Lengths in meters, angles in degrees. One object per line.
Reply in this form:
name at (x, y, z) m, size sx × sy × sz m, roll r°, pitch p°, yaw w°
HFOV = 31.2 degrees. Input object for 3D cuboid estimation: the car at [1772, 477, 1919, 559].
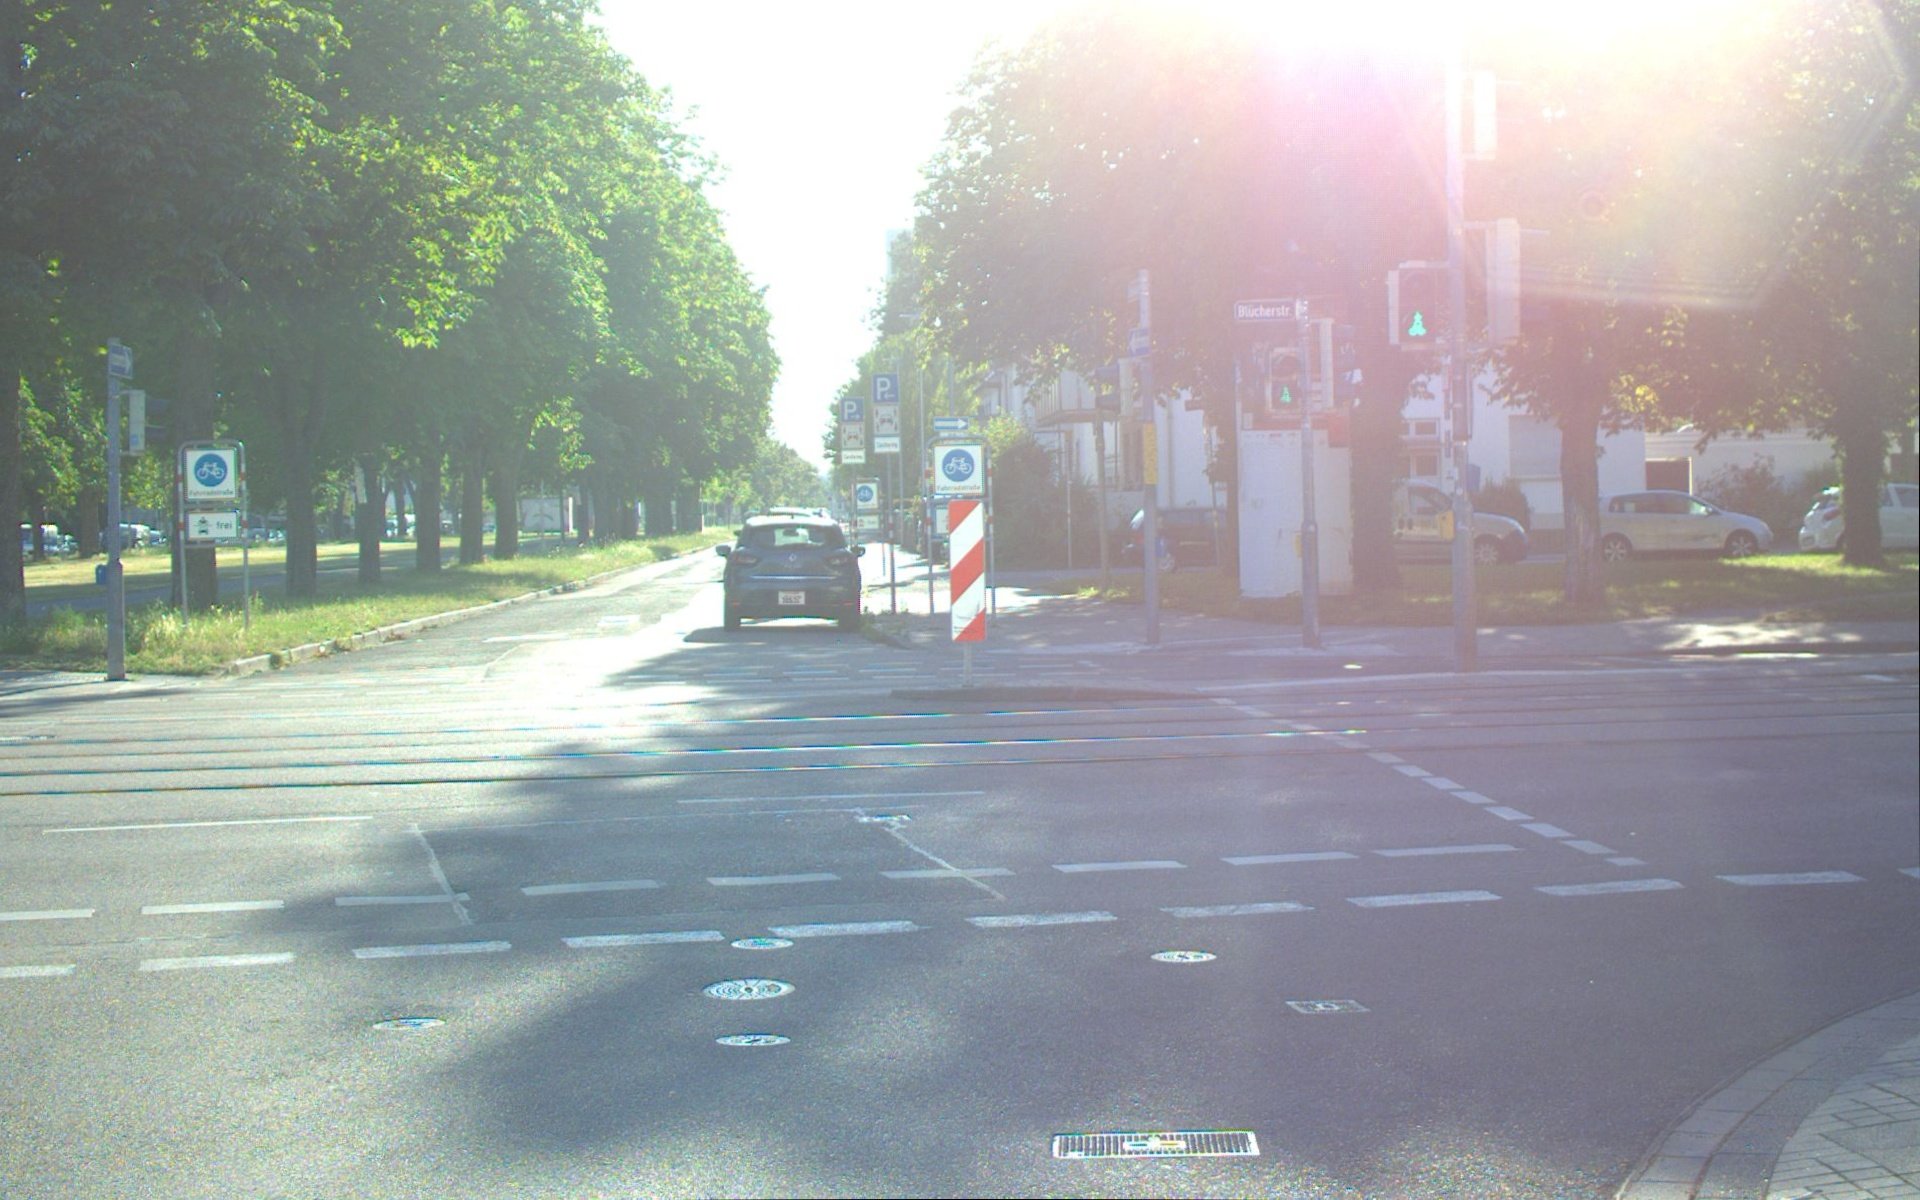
car at (17.754, -1.565, 66.029) m, size 3.920 × 1.518 × 1.524 m, roll 0°, pitch 0°, yaw -7°

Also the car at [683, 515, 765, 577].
car at (-5.348, -1.219, 78.190) m, size 1.709 × 1.355 × 4.203 m, roll 1°, pitch 1°, yaw -2°

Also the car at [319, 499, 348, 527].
car at (-46.243, -6.392, 253.863) m, size 1.654 × 1.932 × 3.568 m, roll 1°, pitch -1°, yaw -3°

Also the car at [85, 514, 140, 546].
car at (-46.124, -3.819, 187.159) m, size 1.993 × 1.653 × 4.571 m, roll -1°, pitch 1°, yaw -3°

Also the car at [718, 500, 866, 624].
car at (-2.124, -0.493, 44.537) m, size 1.725 × 1.506 × 4.541 m, roll 1°, pitch 1°, yaw -1°

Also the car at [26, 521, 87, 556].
car at (-44.022, -2.975, 167.549) m, size 2.022 × 1.653 × 3.984 m, roll 1°, pitch 1°, yaw -2°

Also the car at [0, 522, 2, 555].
car at (-49.702, -3.124, 172.678) m, size 1.993 × 1.653 × 4.355 m, roll 1°, pitch 1°, yaw -1°

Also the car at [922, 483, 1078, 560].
car at (1.079, -2.130, 93.513) m, size 3.986 × 1.816 × 1.760 m, roll -2°, pitch -4°, yaw -6°

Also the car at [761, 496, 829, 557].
car at (-4.990, -2.234, 103.729) m, size 1.993 × 1.775 × 4.001 m, roll 1°, pitch 2°, yaw -3°

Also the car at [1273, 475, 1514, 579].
car at (8.231, -1.381, 65.551) m, size 4.241 × 1.868 × 2.031 m, roll -1°, pitch 1°, yaw -2°

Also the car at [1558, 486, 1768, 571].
car at (13.347, -1.356, 65.333) m, size 3.552 × 1.510 × 1.606 m, roll -1°, pitch 1°, yaw -8°

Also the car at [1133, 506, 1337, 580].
car at (5.630, -1.169, 70.722) m, size 3.986 × 1.442 × 1.716 m, roll -1°, pitch 1°, yaw -2°

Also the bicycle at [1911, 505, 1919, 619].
bicycle at (9.927, -0.378, 32.905) m, size 1.522 × 1.085 × 0.467 m, roll -1°, pitch 1°, yaw 8°
